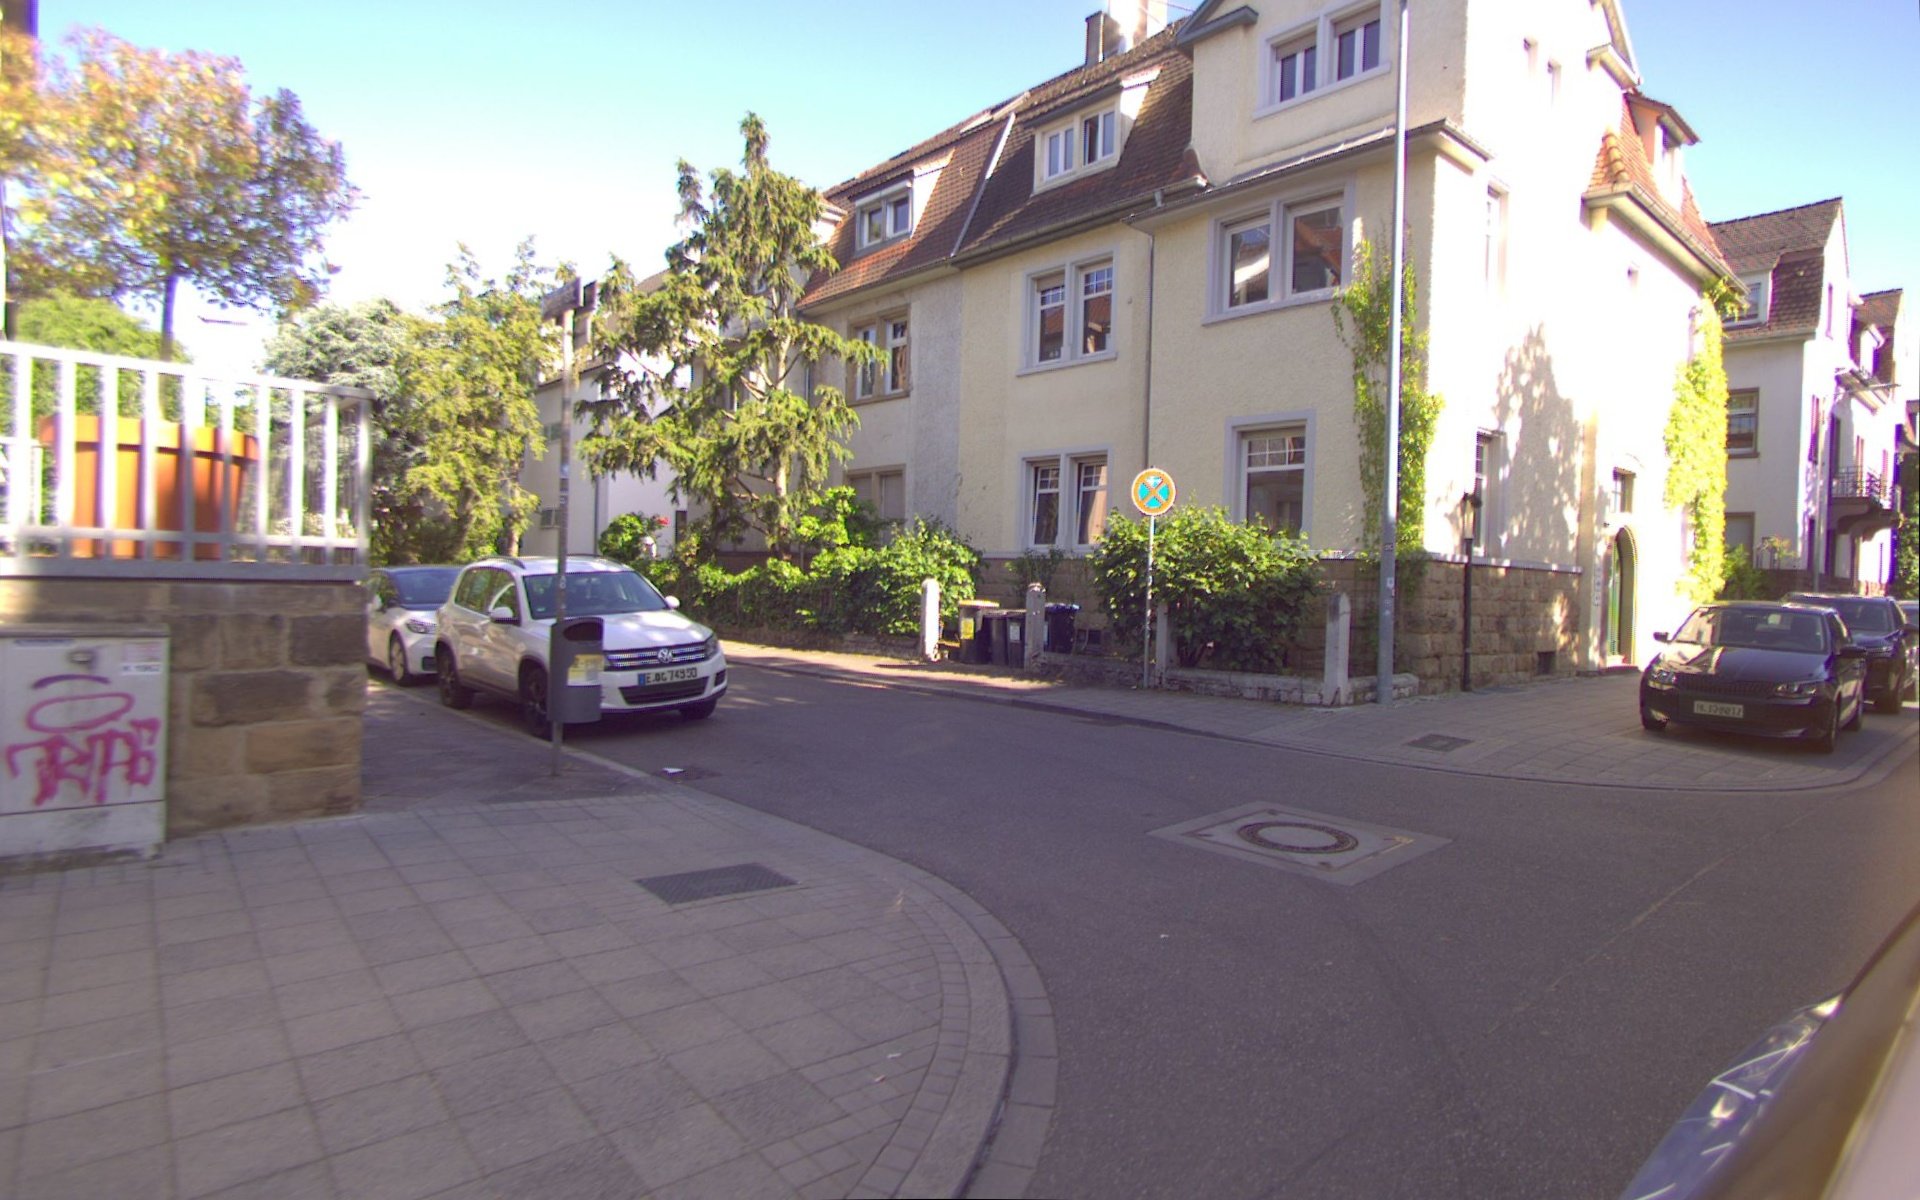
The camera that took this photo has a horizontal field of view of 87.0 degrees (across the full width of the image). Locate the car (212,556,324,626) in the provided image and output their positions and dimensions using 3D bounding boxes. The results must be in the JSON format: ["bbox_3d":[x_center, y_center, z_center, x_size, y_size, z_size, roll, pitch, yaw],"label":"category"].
[{"bbox_3d":[-17.309,-0.281,25.269,1.777,1.600,3.388,-3,4,-43],"label":"car"}]

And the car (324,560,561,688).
[{"bbox_3d":[-7.606,0.215,14.720,1.968,1.569,3.990,-2,3,-45],"label":"car"}]

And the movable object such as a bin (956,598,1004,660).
[{"bbox_3d":[0.349,0.485,17.503,0.655,1.034,0.519,-1,0,-41],"label":"movable object such as a bin"}]

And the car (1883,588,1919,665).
[{"bbox_3d":[21.527,0.567,22.110,3.408,1.568,1.579,-1,4,-41],"label":"car"}]

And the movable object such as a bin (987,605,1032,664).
[{"bbox_3d":[0.837,0.580,17.207,0.566,0.964,0.519,0,0,-41],"label":"movable object such as a bin"}]

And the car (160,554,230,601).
[{"bbox_3d":[-27.688,-0.824,36.595,1.645,1.590,3.720,1,1,-43],"label":"car"}]

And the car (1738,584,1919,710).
[{"bbox_3d":[13.282,0.568,15.109,4.291,1.538,1.795,-1,4,-41],"label":"car"}]

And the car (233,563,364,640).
[{"bbox_3d":[-14.292,-0.039,21.812,1.777,1.468,3.388,-3,4,-43],"label":"car"}]

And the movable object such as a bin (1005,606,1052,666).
[{"bbox_3d":[1.135,0.581,16.737,0.566,0.964,0.519,0,0,-41],"label":"movable object such as a bin"}]

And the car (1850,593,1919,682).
[{"bbox_3d":[18.134,0.671,18.885,4.120,1.453,1.713,-1,4,-41],"label":"car"}]

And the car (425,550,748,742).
[{"bbox_3d":[-4.027,0.298,10.545,1.761,1.610,3.992,-2,3,-43],"label":"car"}]

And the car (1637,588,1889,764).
[{"bbox_3d":[9.151,0.691,11.420,3.935,1.538,1.664,-1,4,-44],"label":"car"}]
